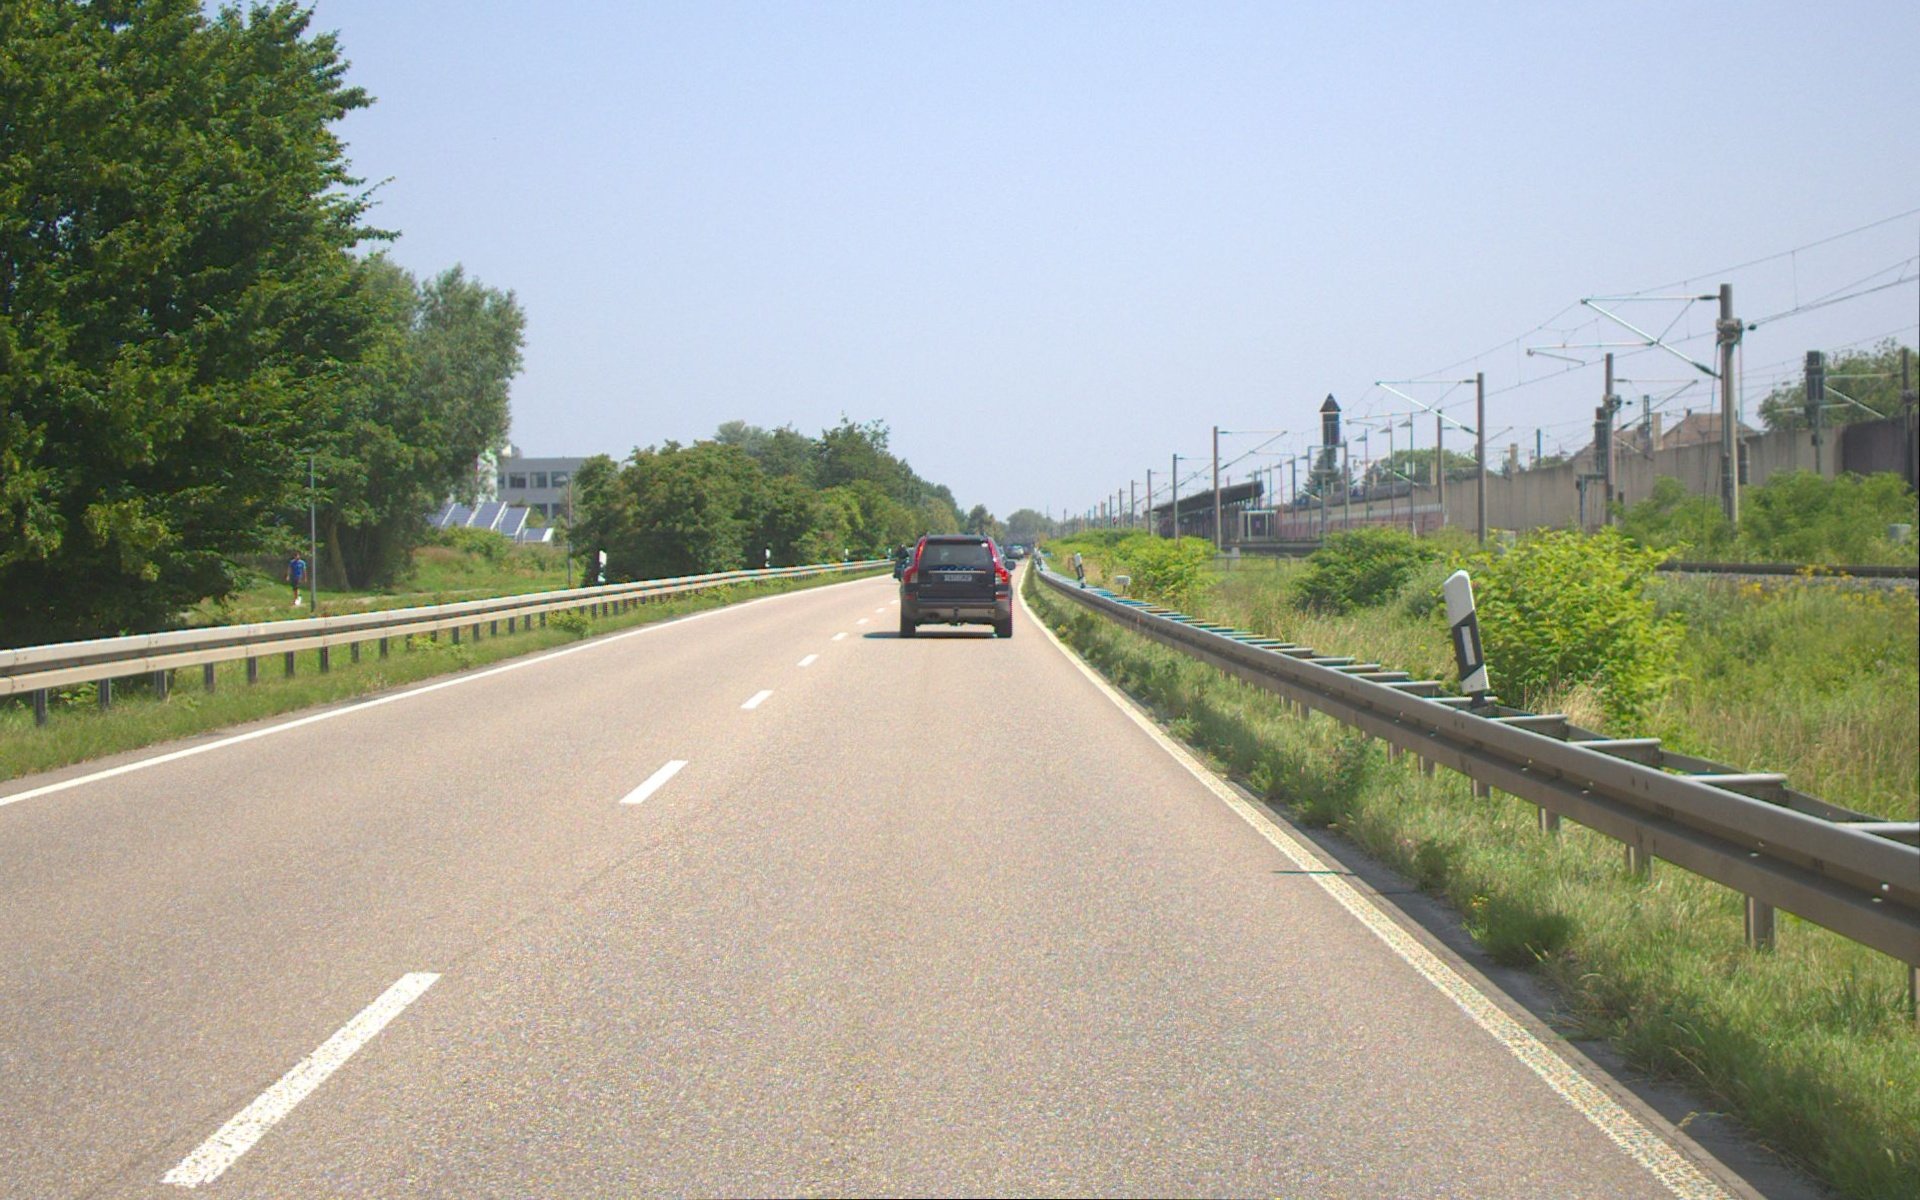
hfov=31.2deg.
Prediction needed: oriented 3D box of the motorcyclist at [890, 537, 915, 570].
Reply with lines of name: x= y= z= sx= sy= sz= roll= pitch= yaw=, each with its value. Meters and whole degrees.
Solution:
motorcyclist: x=-2.340 y=-1.889 z=140.028 sx=0.993 sy=1.305 sz=0.935 roll=1 pitch=1 yaw=1

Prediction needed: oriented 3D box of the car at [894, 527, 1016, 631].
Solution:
car: x=-0.124 y=-0.367 z=58.343 sx=1.993 sy=1.694 sz=4.000 roll=0 pitch=1 yaw=-1

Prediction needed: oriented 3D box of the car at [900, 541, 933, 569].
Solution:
car: x=-2.409 y=-2.498 z=190.884 sx=1.698 sy=1.469 sz=4.686 roll=1 pitch=1 yaw=1
